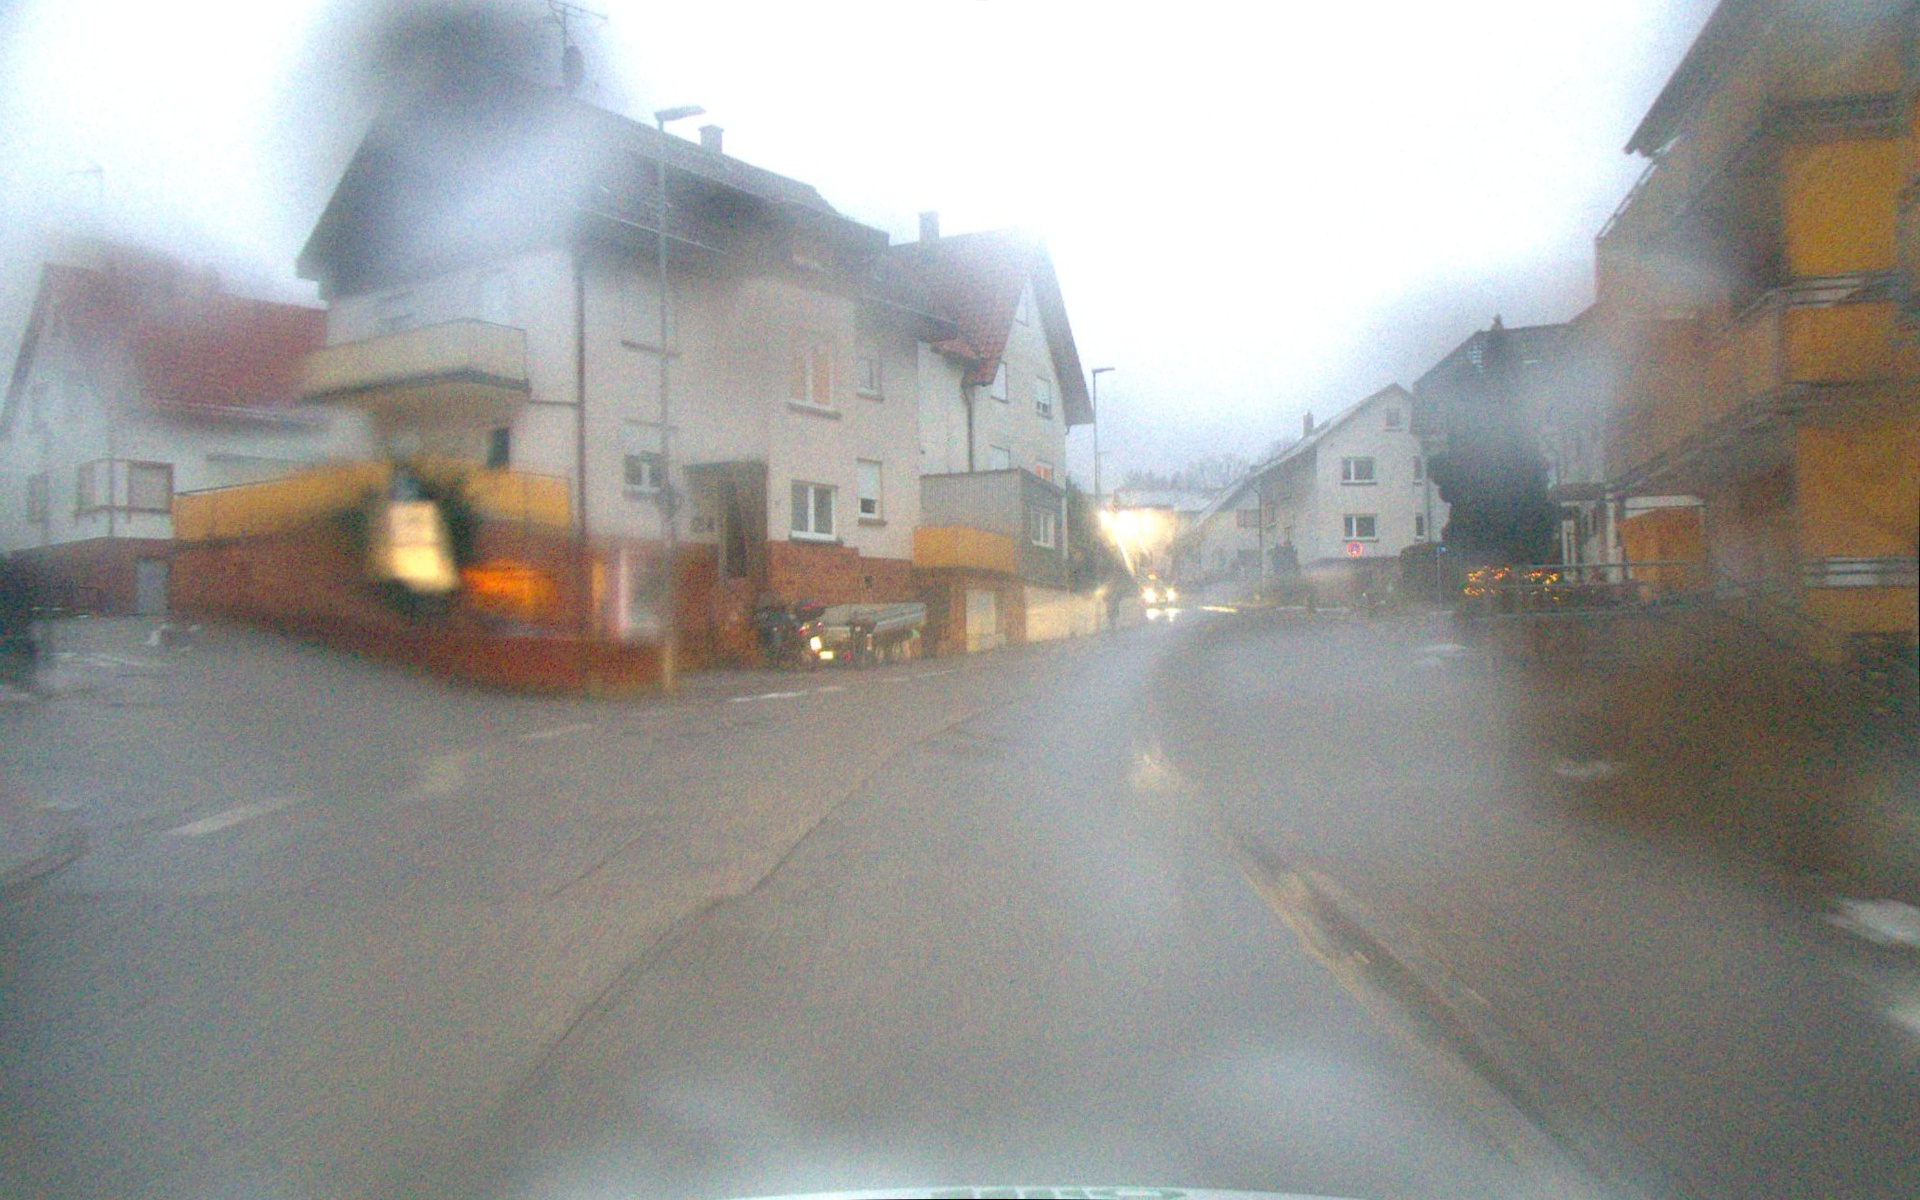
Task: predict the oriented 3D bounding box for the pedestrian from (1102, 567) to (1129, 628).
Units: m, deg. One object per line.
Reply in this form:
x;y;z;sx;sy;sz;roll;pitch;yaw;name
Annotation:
4.521;-0.064;48.026;0.585;1.763;0.812;0;-1;19;pedestrian

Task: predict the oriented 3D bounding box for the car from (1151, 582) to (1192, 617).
13.327;-0.044;104.093;2.065;2.062;4.987;-2;0;12;car

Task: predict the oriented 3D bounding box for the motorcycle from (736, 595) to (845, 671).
-3.128;0.584;30.299;1.045;1.321;2.210;0;1;-36;motorcycle

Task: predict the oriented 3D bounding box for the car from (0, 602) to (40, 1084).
-3.654;0.728;2.973;1.713;1.413;4.146;0;1;-1;car

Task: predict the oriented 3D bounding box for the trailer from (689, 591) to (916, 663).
-3.026;0.476;32.889;2.020;1.189;4.858;1;2;31;trailer
